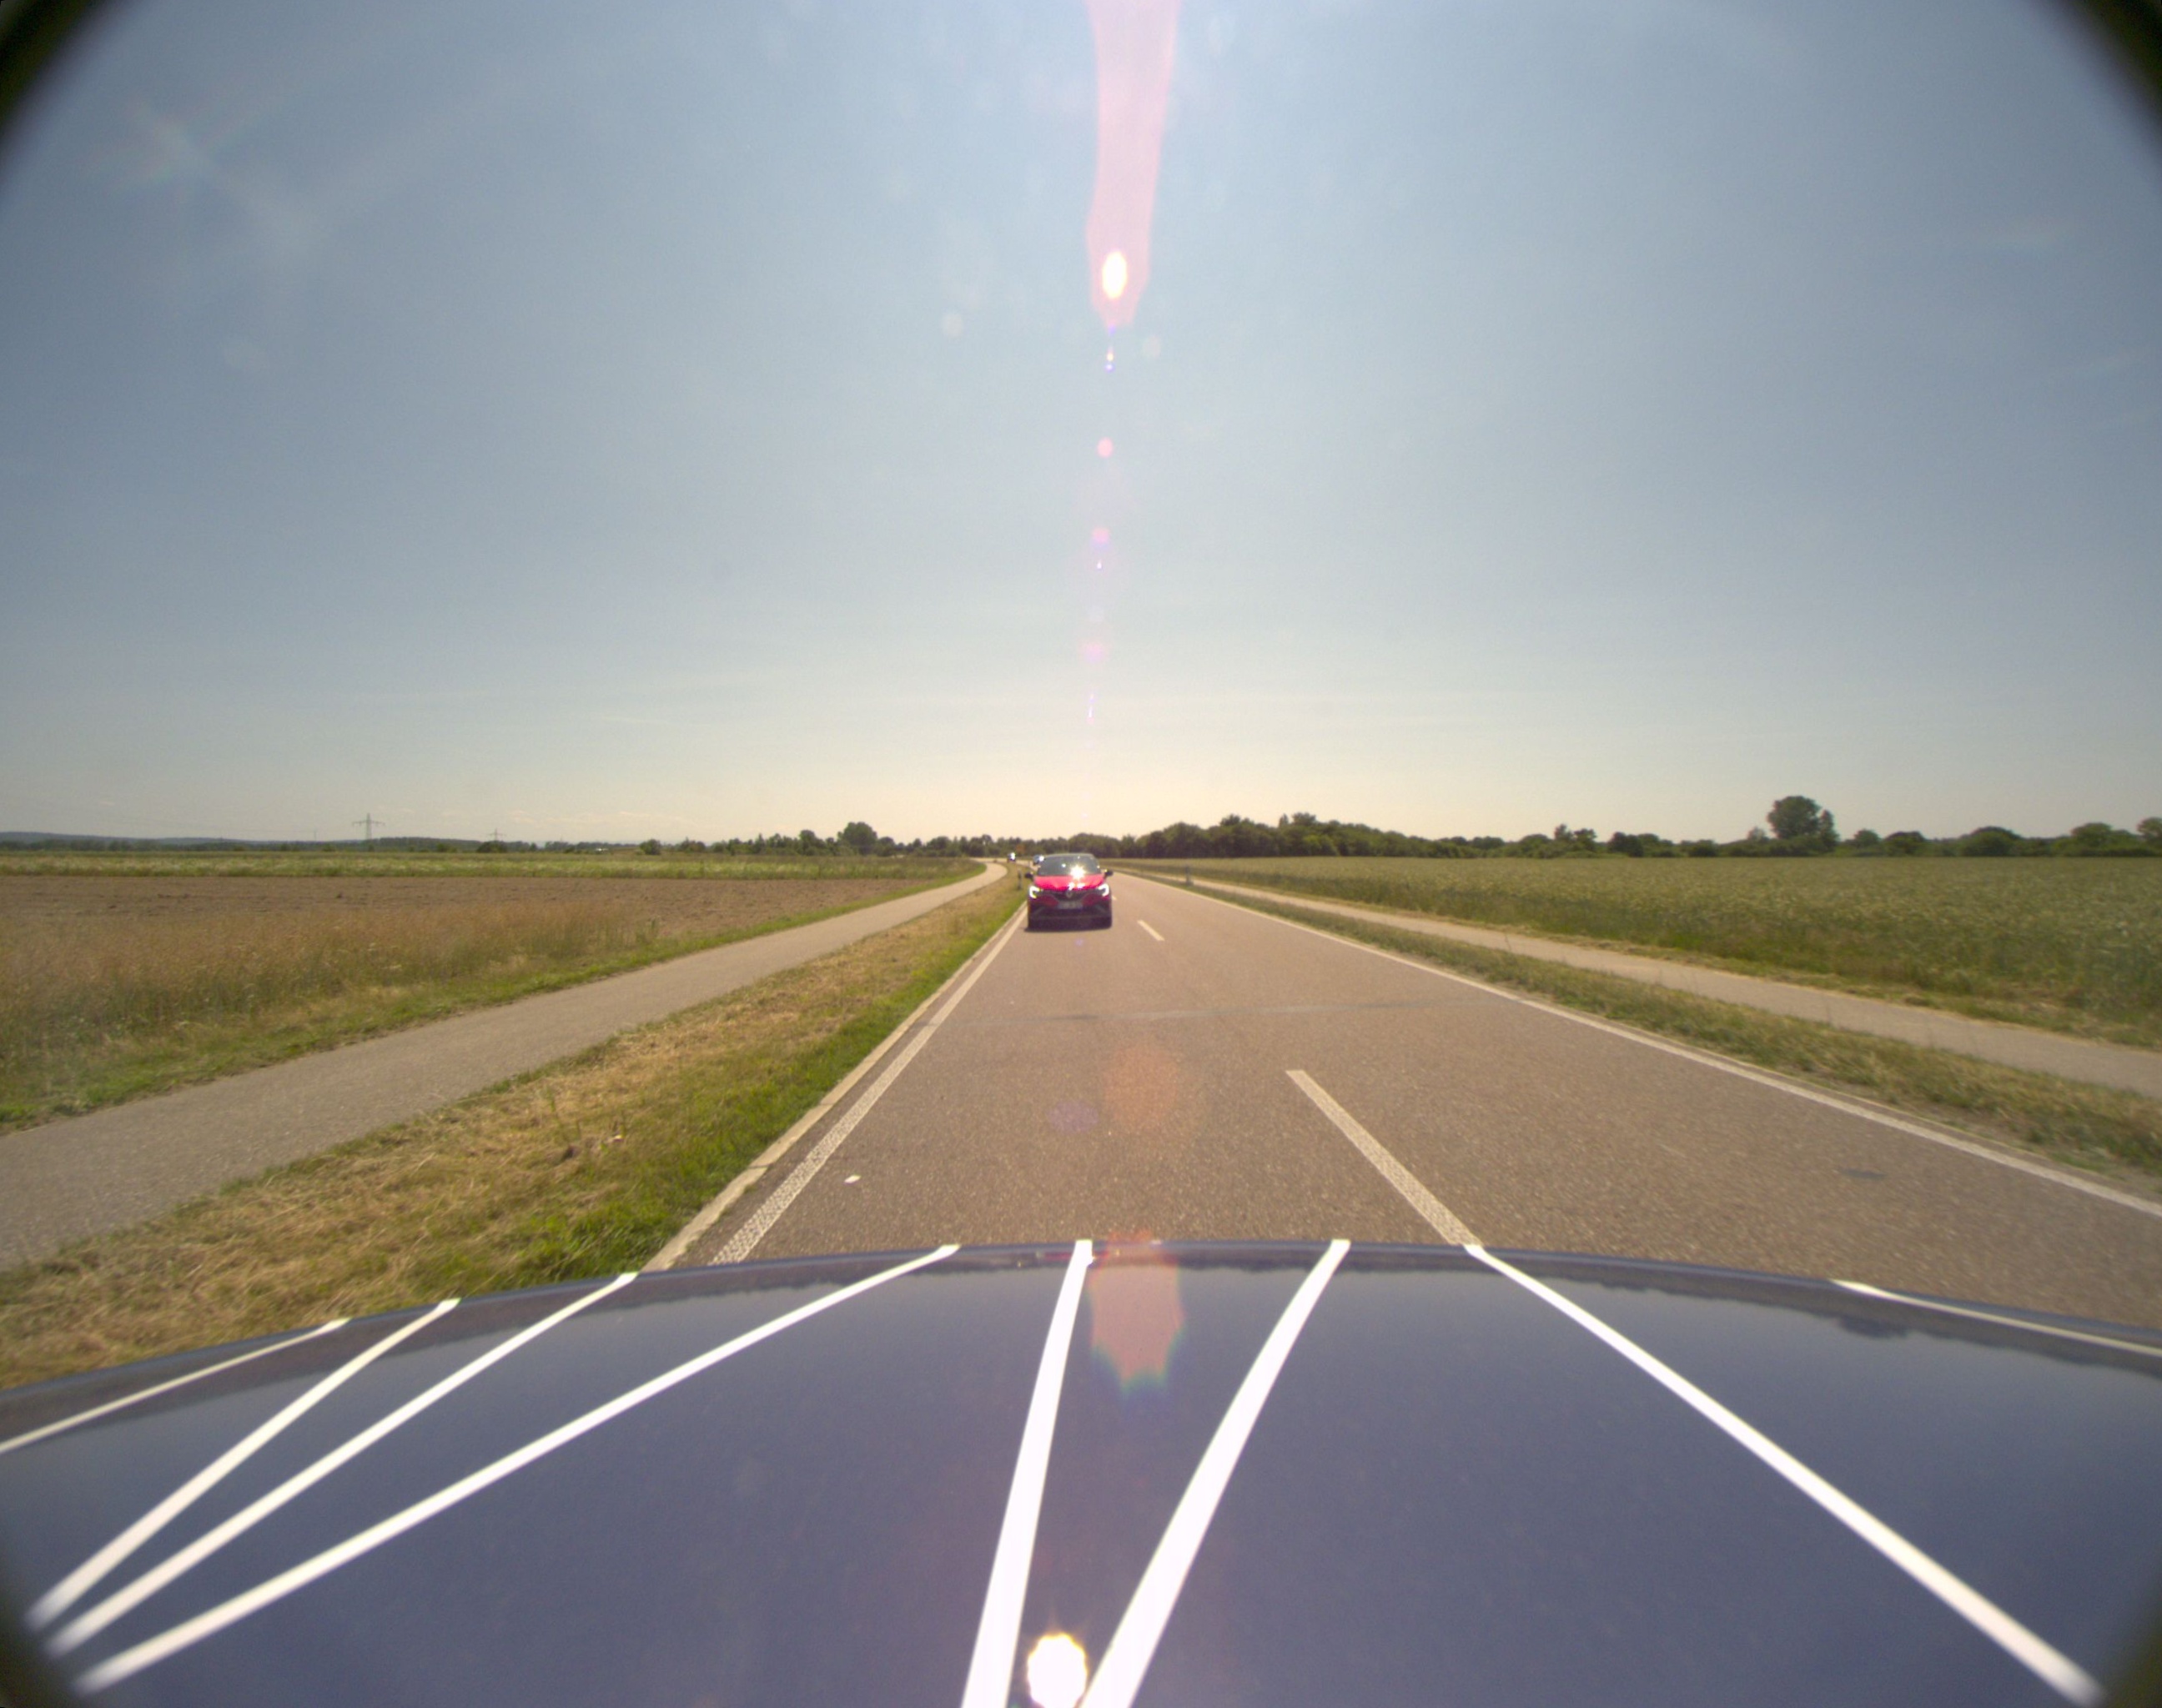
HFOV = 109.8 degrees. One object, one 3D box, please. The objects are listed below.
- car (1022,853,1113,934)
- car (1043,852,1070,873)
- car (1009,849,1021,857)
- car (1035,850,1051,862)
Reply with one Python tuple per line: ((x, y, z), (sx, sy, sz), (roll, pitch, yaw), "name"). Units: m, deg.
((-0.281, 0.804, 17.903), (1.837, 1.587, 4.721), (-1, 1, 0), "car")
((-2.034, 0.657, 61.310), (1.984, 1.587, 5.399), (-1, 1, -4), "car")
((-14.269, -0.186, 164.308), (1.985, 1.587, 5.396), (-2, 1, -12), "car")
((-5.470, 0.230, 107.965), (1.984, 1.587, 5.398), (-1, 1, -6), "car")
